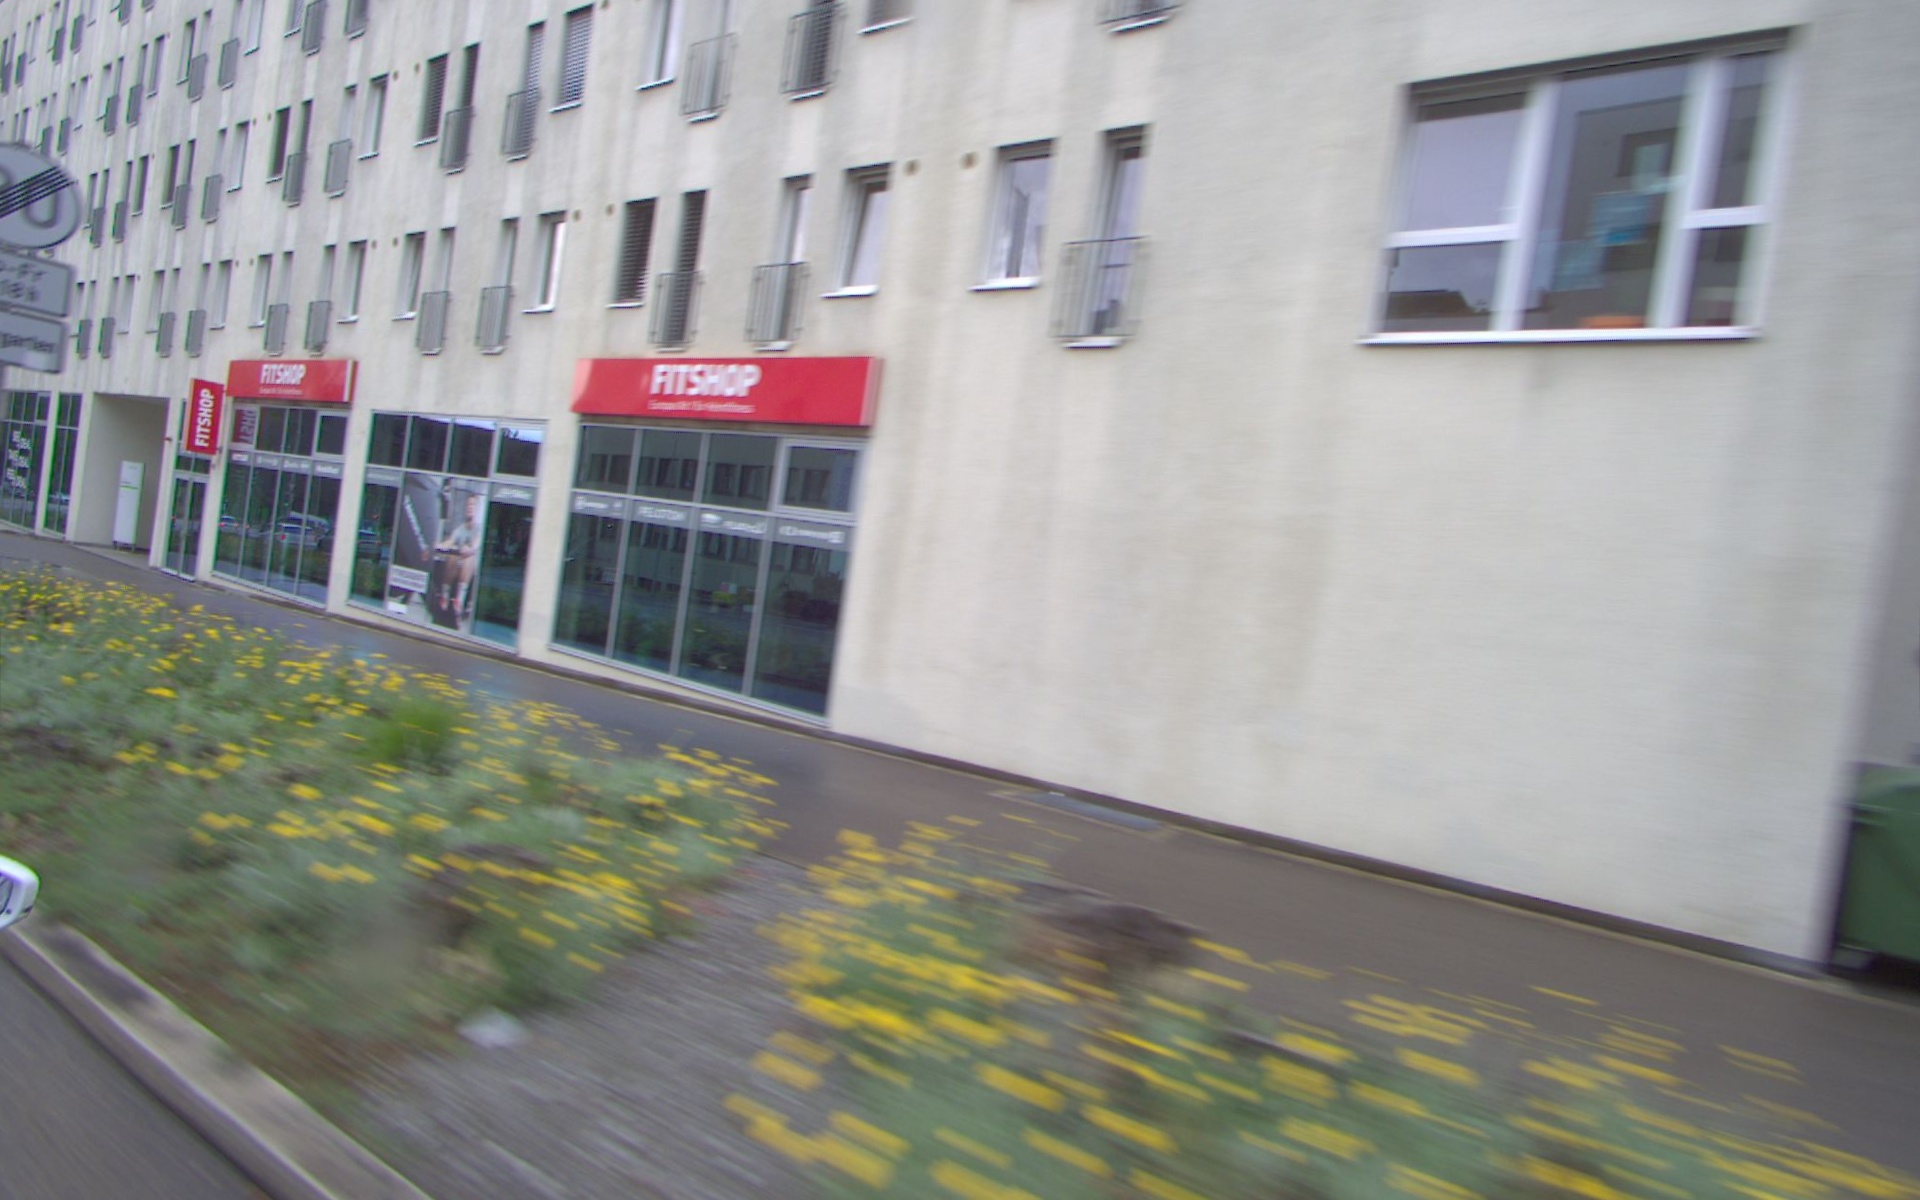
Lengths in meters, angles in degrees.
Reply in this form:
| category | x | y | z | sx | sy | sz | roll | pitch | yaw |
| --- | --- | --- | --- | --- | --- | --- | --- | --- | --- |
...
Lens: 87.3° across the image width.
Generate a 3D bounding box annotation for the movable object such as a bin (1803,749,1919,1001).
| category | x | y | z | sx | sy | sz | roll | pitch | yaw |
| --- | --- | --- | --- | --- | --- | --- | --- | --- | --- |
| movable object such as a bin | 6.702 | 1.909 | 6.988 | 0.997 | 1.521 | 1.175 | 7 | 0 | 33 |
